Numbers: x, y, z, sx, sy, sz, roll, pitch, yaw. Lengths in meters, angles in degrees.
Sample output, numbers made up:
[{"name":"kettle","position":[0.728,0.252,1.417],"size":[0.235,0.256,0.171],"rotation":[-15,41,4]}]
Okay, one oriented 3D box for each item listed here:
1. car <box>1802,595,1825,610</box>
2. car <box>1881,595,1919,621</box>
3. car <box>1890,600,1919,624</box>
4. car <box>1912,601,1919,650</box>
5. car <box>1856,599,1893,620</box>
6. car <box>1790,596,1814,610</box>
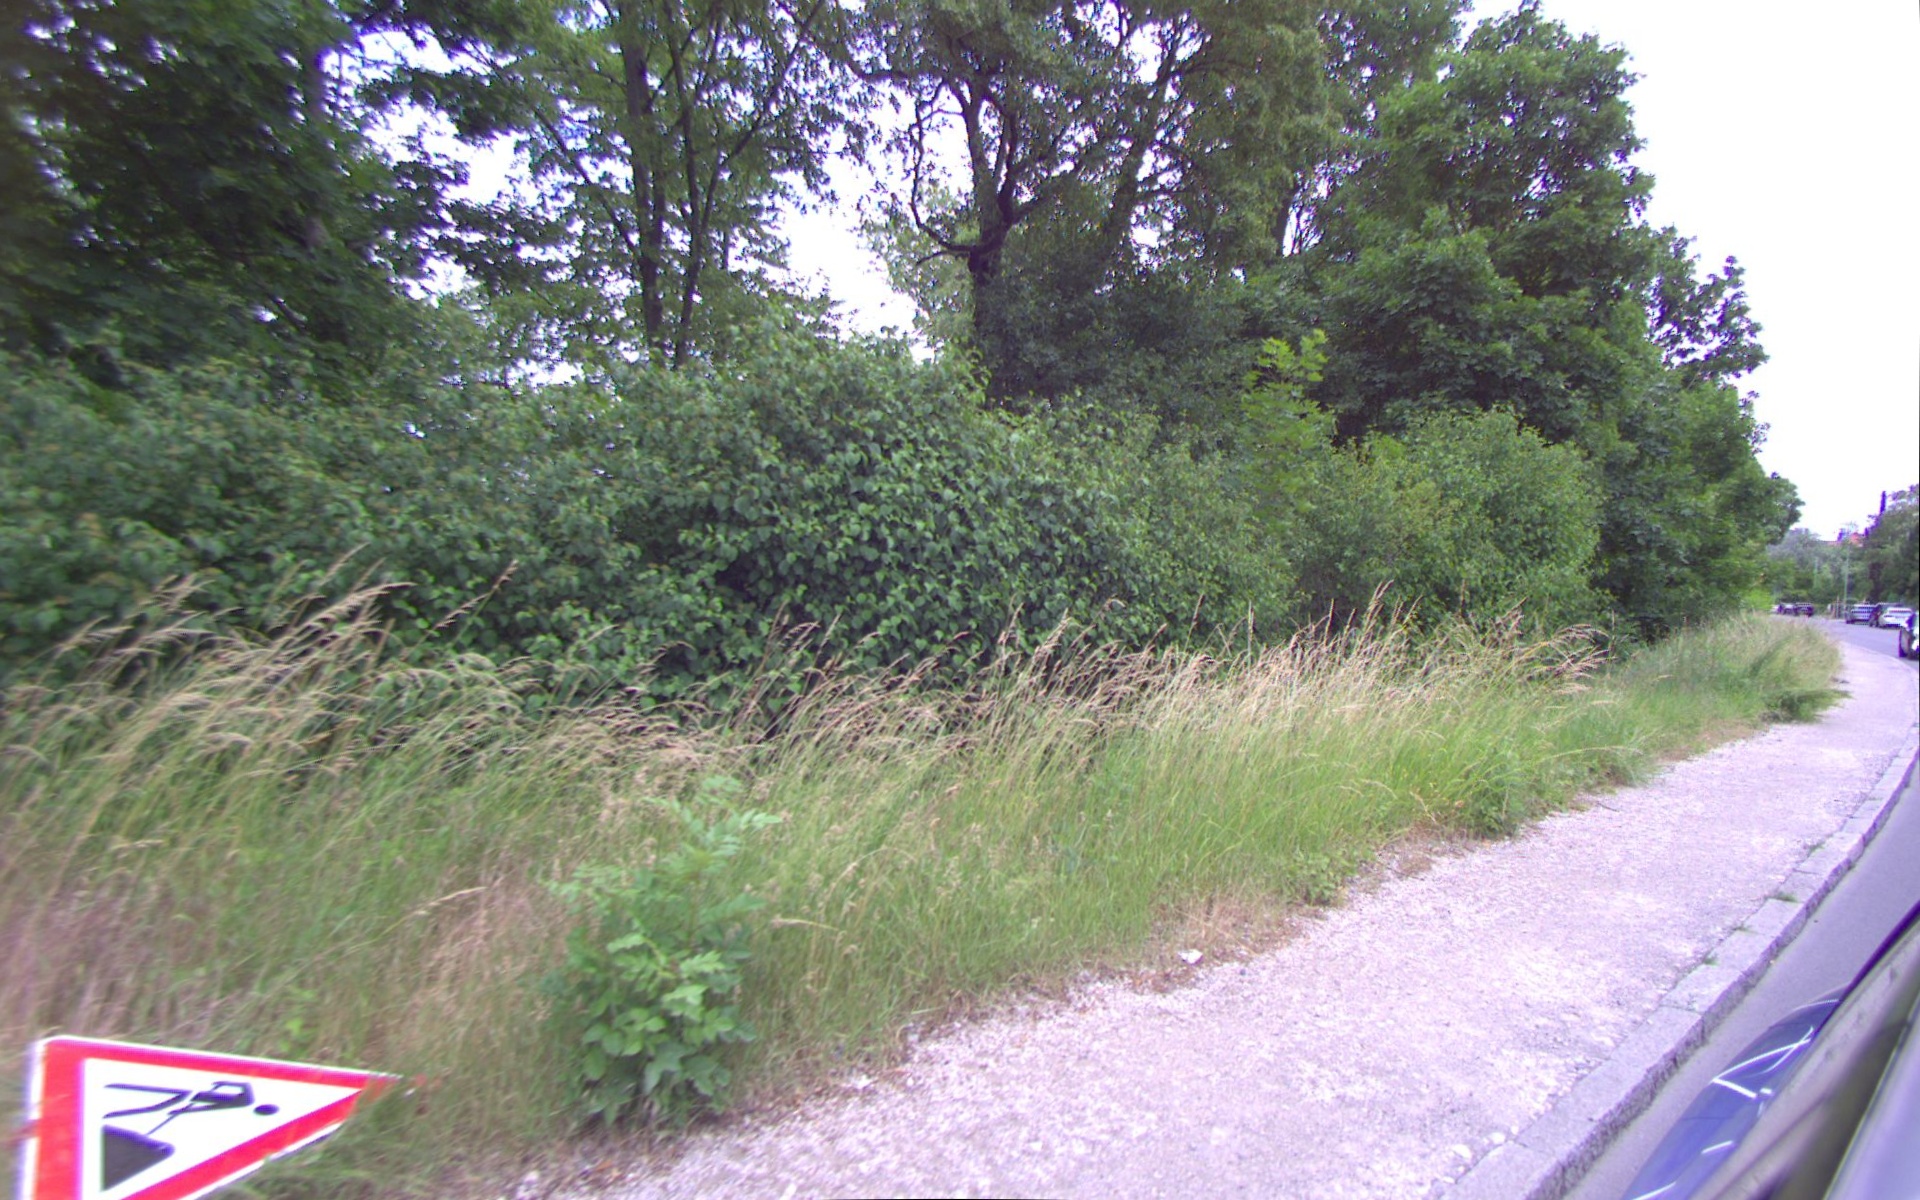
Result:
[{"name":"car","position":[105.580,0.319,125.243],"size":[1.914,1.701,4.137],"rotation":[2,1,38]},{"name":"car","position":[68.563,0.570,73.824],"size":[1.703,1.822,4.239],"rotation":[2,1,38]},{"name":"car","position":[64.998,0.799,69.227],"size":[1.704,1.530,4.490],"rotation":[2,1,39]},{"name":"car","position":[30.024,0.805,30.418],"size":[1.704,1.493,4.136],"rotation":[2,1,39]},{"name":"car","position":[75.931,0.747,84.038],"size":[1.791,1.627,4.667],"rotation":[2,1,37]},{"name":"car","position":[111.534,0.372,134.123],"size":[1.910,1.701,4.146],"rotation":[2,1,33]}]
